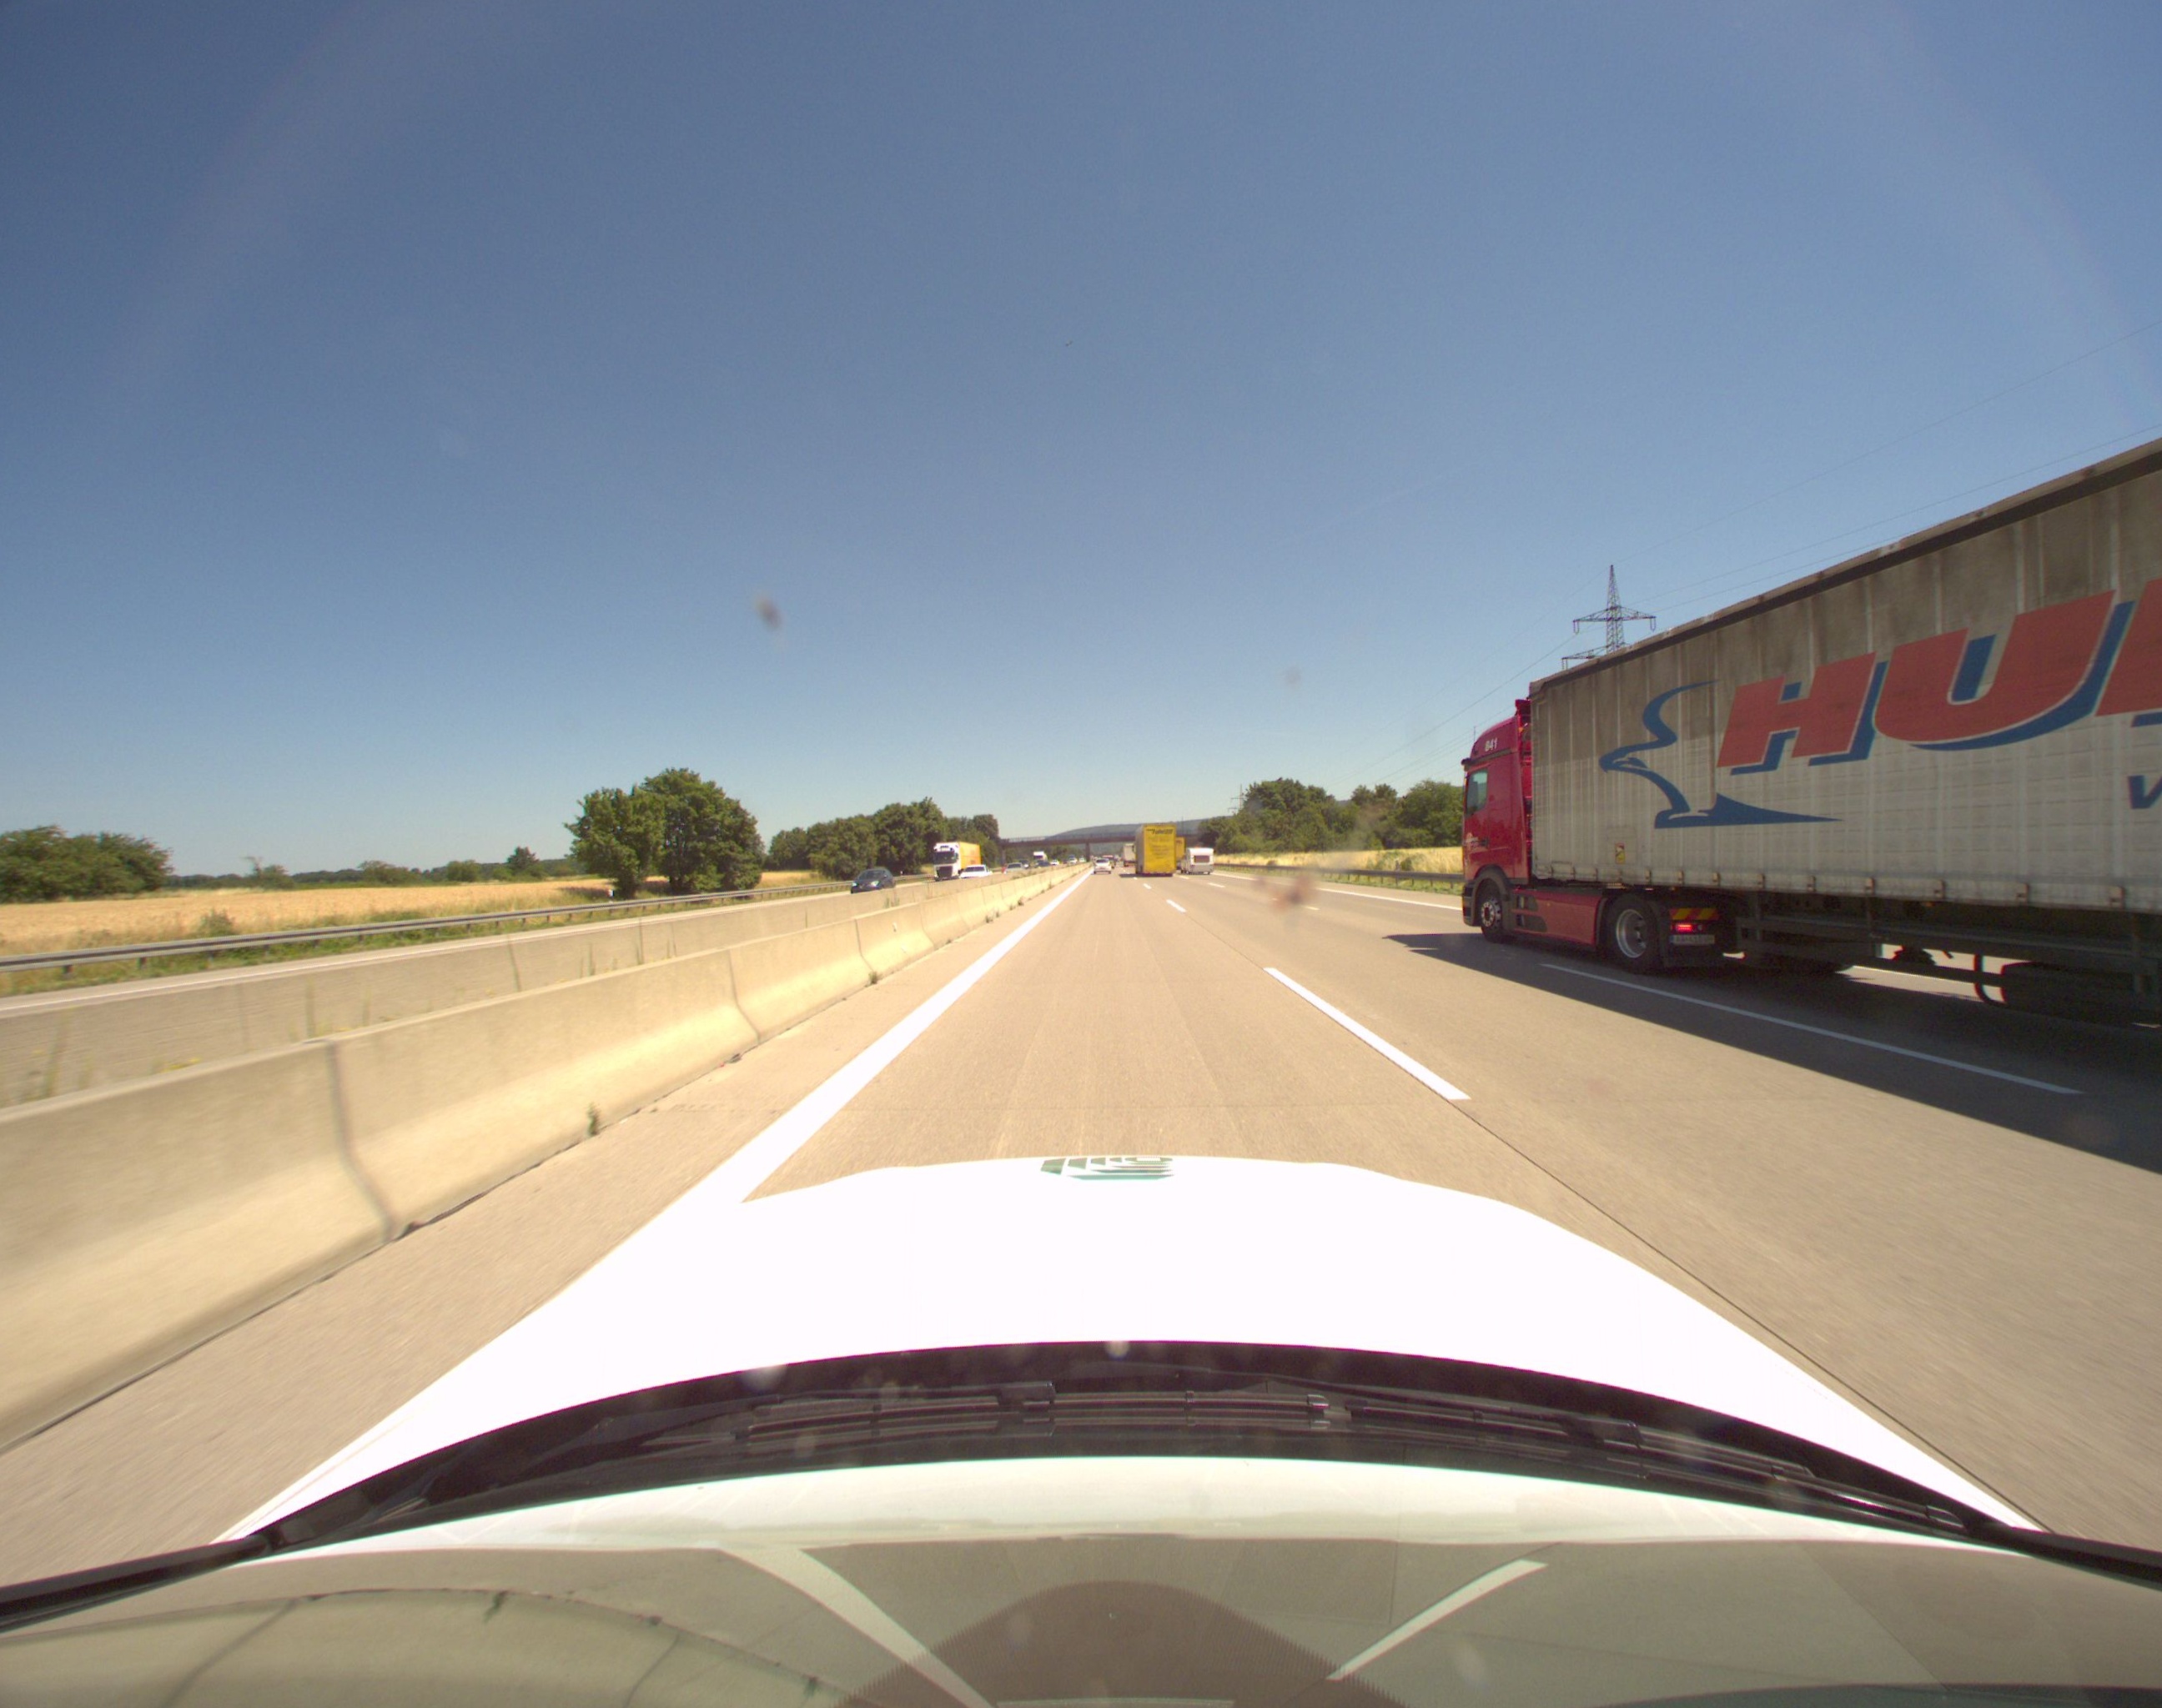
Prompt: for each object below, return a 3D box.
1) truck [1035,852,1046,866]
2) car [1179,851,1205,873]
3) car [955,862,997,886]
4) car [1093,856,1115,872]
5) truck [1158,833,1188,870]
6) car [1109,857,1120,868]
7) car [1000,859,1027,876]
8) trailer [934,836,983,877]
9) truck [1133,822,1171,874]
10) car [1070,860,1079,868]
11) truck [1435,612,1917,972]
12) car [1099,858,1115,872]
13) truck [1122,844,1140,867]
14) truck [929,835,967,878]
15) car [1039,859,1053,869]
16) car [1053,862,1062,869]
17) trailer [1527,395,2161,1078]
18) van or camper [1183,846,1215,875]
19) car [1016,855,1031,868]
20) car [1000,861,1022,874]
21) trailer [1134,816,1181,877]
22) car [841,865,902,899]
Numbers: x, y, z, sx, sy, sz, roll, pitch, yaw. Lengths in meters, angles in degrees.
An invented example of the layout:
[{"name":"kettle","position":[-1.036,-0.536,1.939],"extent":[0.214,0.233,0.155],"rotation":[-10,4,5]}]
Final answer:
[{"name":"truck","position":[-10.177,1.263,204.712],"extent":[2.592,3.589,4.721],"rotation":[0,0,1]},{"name":"car","position":[10.467,0.729,77.008],"extent":[1.986,2.013,4.001],"rotation":[0,0,1]},{"name":"car","position":[-7.001,1.286,54.554],"extent":[1.986,1.364,4.672],"rotation":[-4,0,2]},{"name":"car","position":[2.301,0.994,80.334],"extent":[2.098,1.536,4.125],"rotation":[0,0,3]},{"name":"truck","position":[11.443,-0.300,102.166],"extent":[2.987,4.314,9.688],"rotation":[0,0,2]},{"name":"car","position":[6.667,1.691,162.377],"extent":[1.986,2.013,4.001],"rotation":[0,0,1]},{"name":"car","position":[-6.209,1.232,75.479],"extent":[1.986,1.485,4.712],"rotation":[-2,0,2]},{"name":"trailer","position":[-13.717,0.324,92.817],"extent":[2.862,4.198,14.145],"rotation":[-3,0,2]},{"name":"truck","position":[6.451,-0.534,75.148],"extent":[3.203,4.563,5.838],"rotation":[0,0,2]},{"name":"car","position":[-1.773,2.675,217.896],"extent":[1.986,1.735,5.116],"rotation":[-4,0,1]},{"name":"truck","position":[8.160,-0.704,12.455],"extent":[2.895,4.100,6.273],"rotation":[0,0,1]},{"name":"car","position":[3.779,1.546,118.202],"extent":[2.245,2.013,4.300],"rotation":[0,0,3]},{"name":"truck","position":[8.510,0.231,138.246],"extent":[2.809,3.761,6.286],"rotation":[0,0,1]},{"name":"truck","position":[-13.907,0.306,85.518],"extent":[2.858,4.195,5.231],"rotation":[-3,-1,1]},{"name":"car","position":[-4.993,1.415,116.305],"extent":[1.684,1.331,4.001],"rotation":[0,0,1]},{"name":"car","position":[-5.905,2.894,204.816],"extent":[1.916,1.611,4.687],"rotation":[-3,0,1]},{"name":"trailer","position":[7.943,-0.711,5.402],"extent":[2.863,4.100,13.516],"rotation":[0,0,1]},{"name":"van or camper","position":[10.444,0.562,72.252],"extent":[2.216,2.531,5.432],"rotation":[0,0,2]},{"name":"car","position":[-9.137,1.164,130.010],"extent":[1.924,2.000,5.519],"rotation":[0,0,2]},{"name":"car","position":[-8.255,1.598,95.994],"extent":[1.986,1.394,4.718],"rotation":[-3,0,2]},{"name":"trailer","position":[6.204,-0.539,68.249],"extent":[3.203,4.563,13.463],"rotation":[0,0,2]},{"name":"car","position":[-11.611,1.521,45.460],"extent":[1.986,1.560,4.514],"rotation":[-4,0,2]}]
